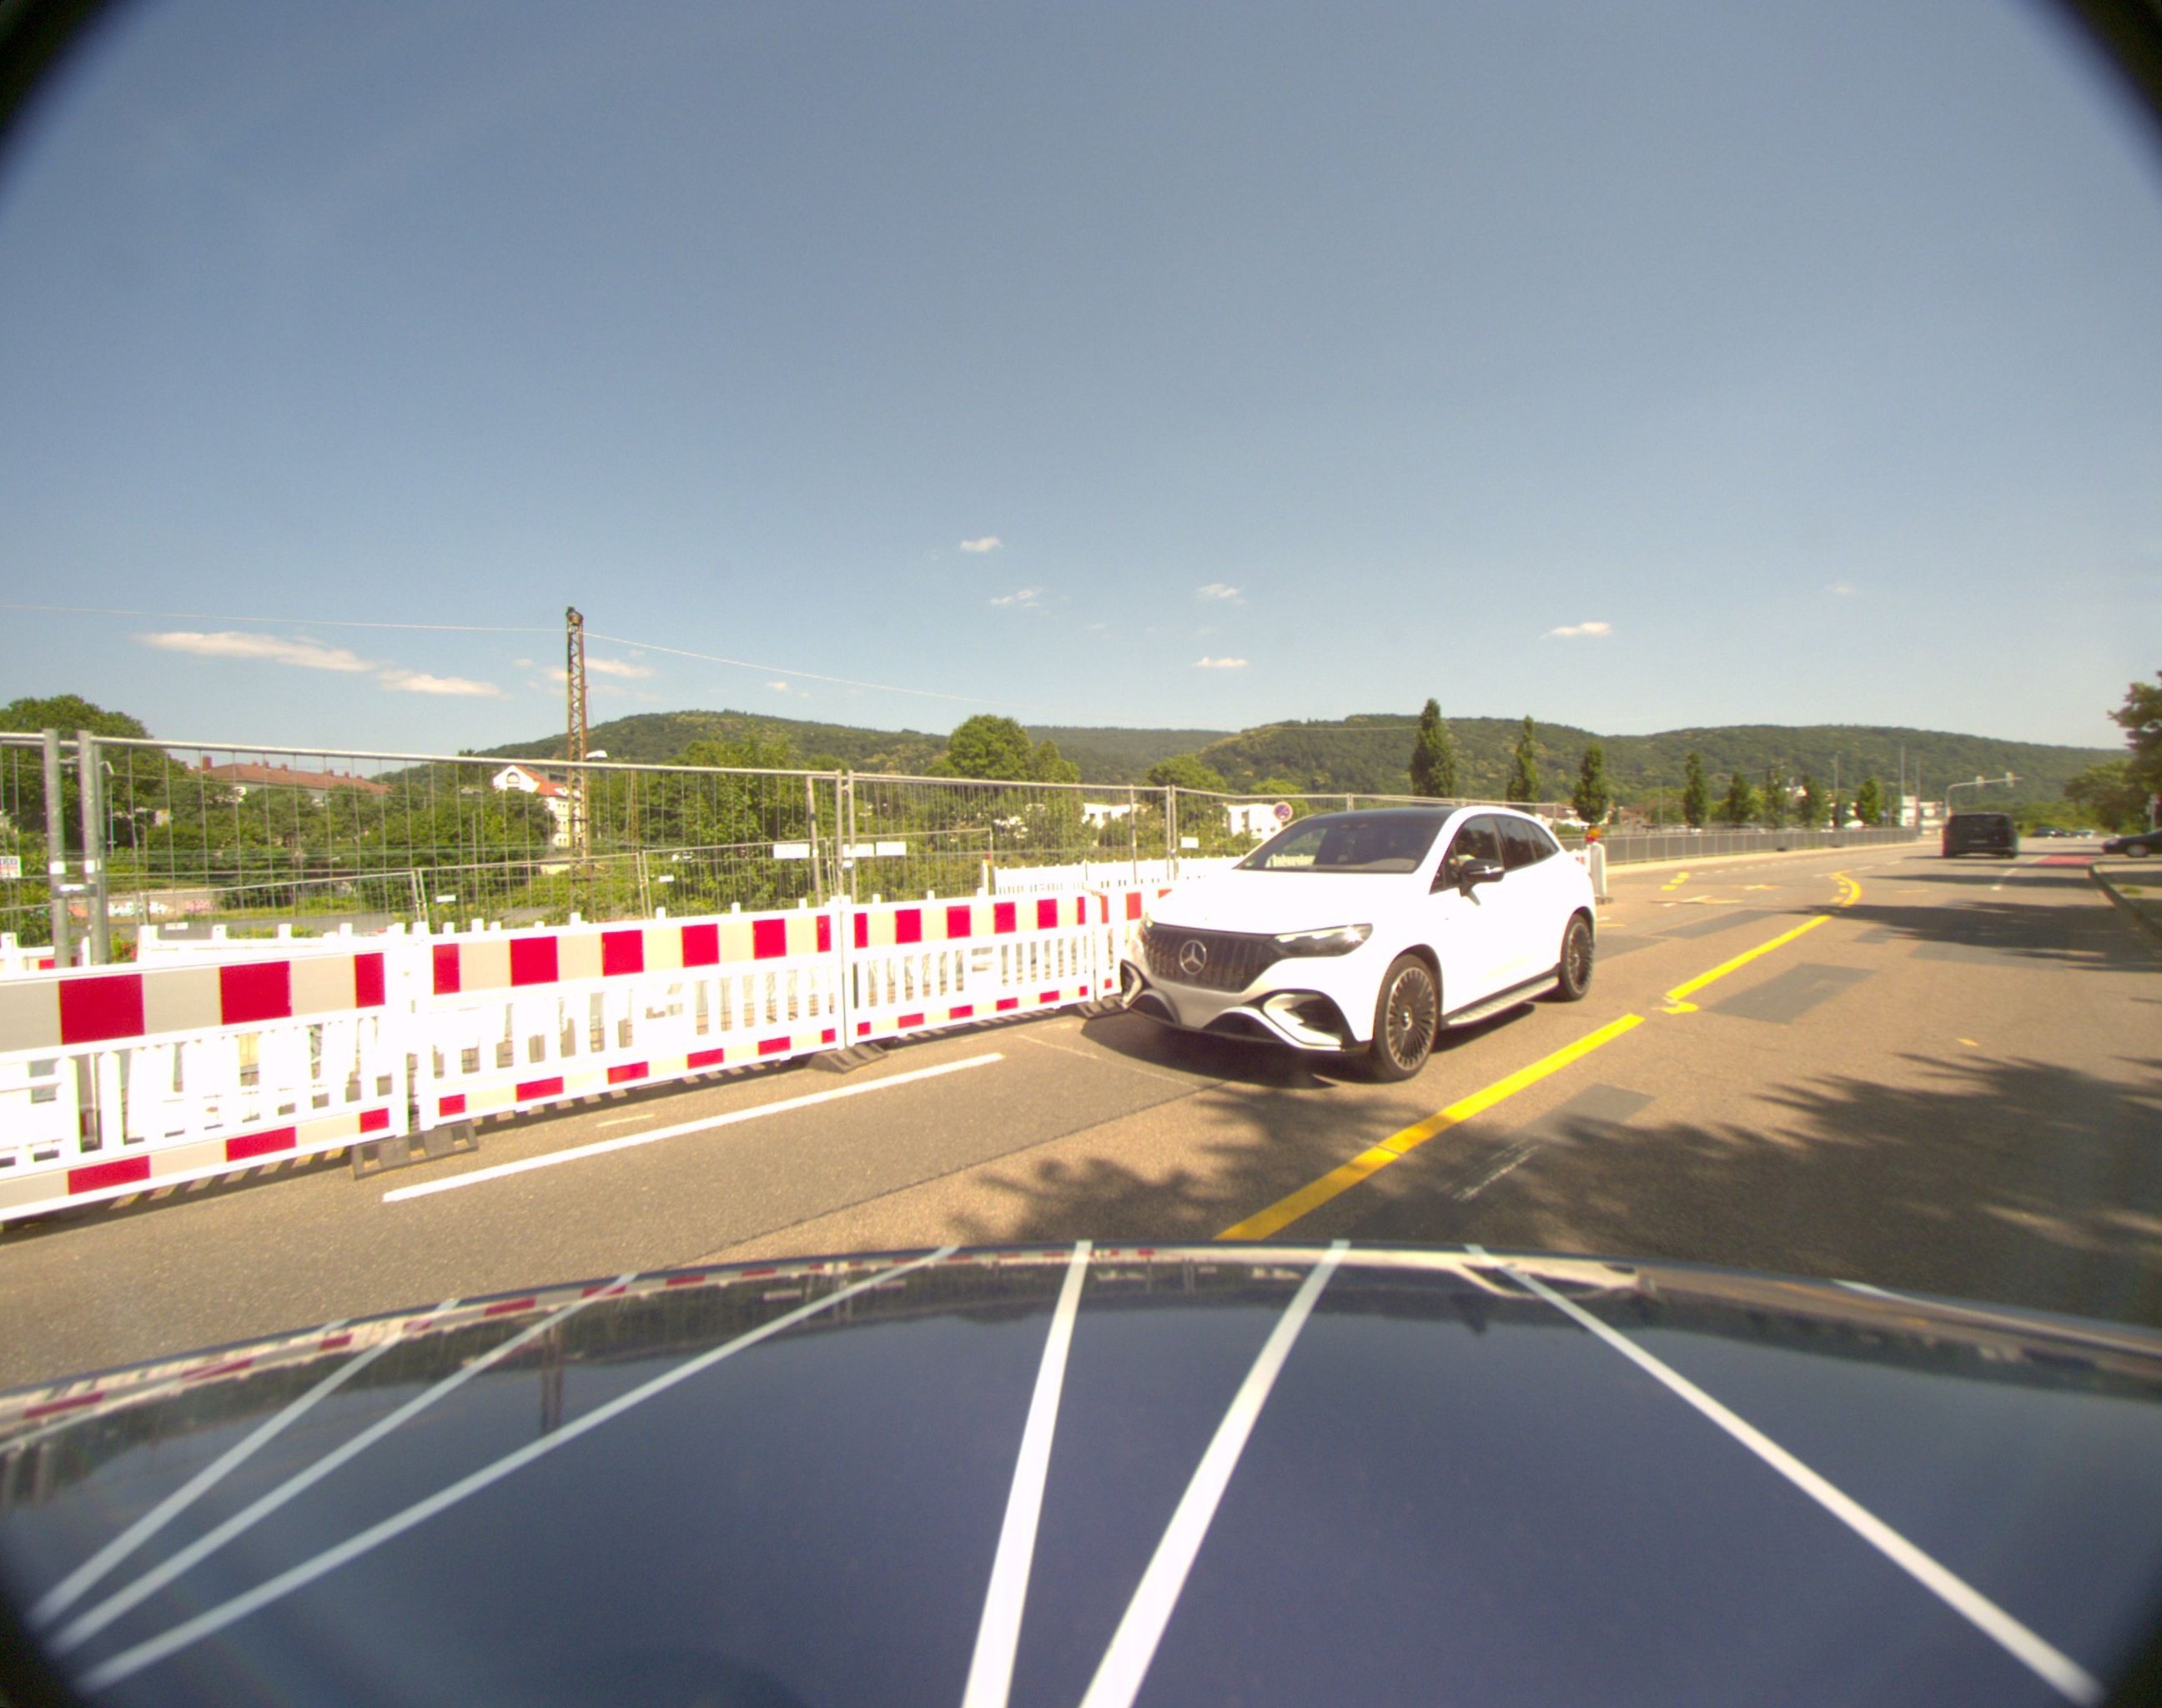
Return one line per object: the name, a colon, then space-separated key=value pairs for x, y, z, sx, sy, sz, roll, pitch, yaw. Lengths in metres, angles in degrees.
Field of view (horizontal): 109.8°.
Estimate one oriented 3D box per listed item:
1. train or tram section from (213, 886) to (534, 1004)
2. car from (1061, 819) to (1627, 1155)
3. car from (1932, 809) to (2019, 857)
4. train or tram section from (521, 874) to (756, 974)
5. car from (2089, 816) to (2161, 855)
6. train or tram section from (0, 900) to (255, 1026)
train or tram section: x=-28.124 y=3.440 z=31.032 sx=8.985 sy=3.692 sz=3.018 roll=-3 pitch=0 yaw=-30
car: x=2.444 y=0.571 z=6.077 sx=5.041 sy=1.635 sz=1.994 roll=-2 pitch=2 yaw=-41
car: x=39.598 y=-0.996 z=33.598 sx=5.454 sy=1.958 sz=2.177 roll=-3 pitch=5 yaw=-38
train or tram section: x=-20.364 y=3.058 z=35.592 sx=8.985 sy=3.680 sz=3.018 roll=-3 pitch=0 yaw=-30
car: x=42.798 y=-0.785 z=29.675 sx=1.884 sy=1.455 sz=3.991 roll=-3 pitch=0 yaw=-34
train or tram section: x=-35.900 y=3.824 z=26.478 sx=8.985 sy=3.690 sz=3.018 roll=-3 pitch=0 yaw=-30
